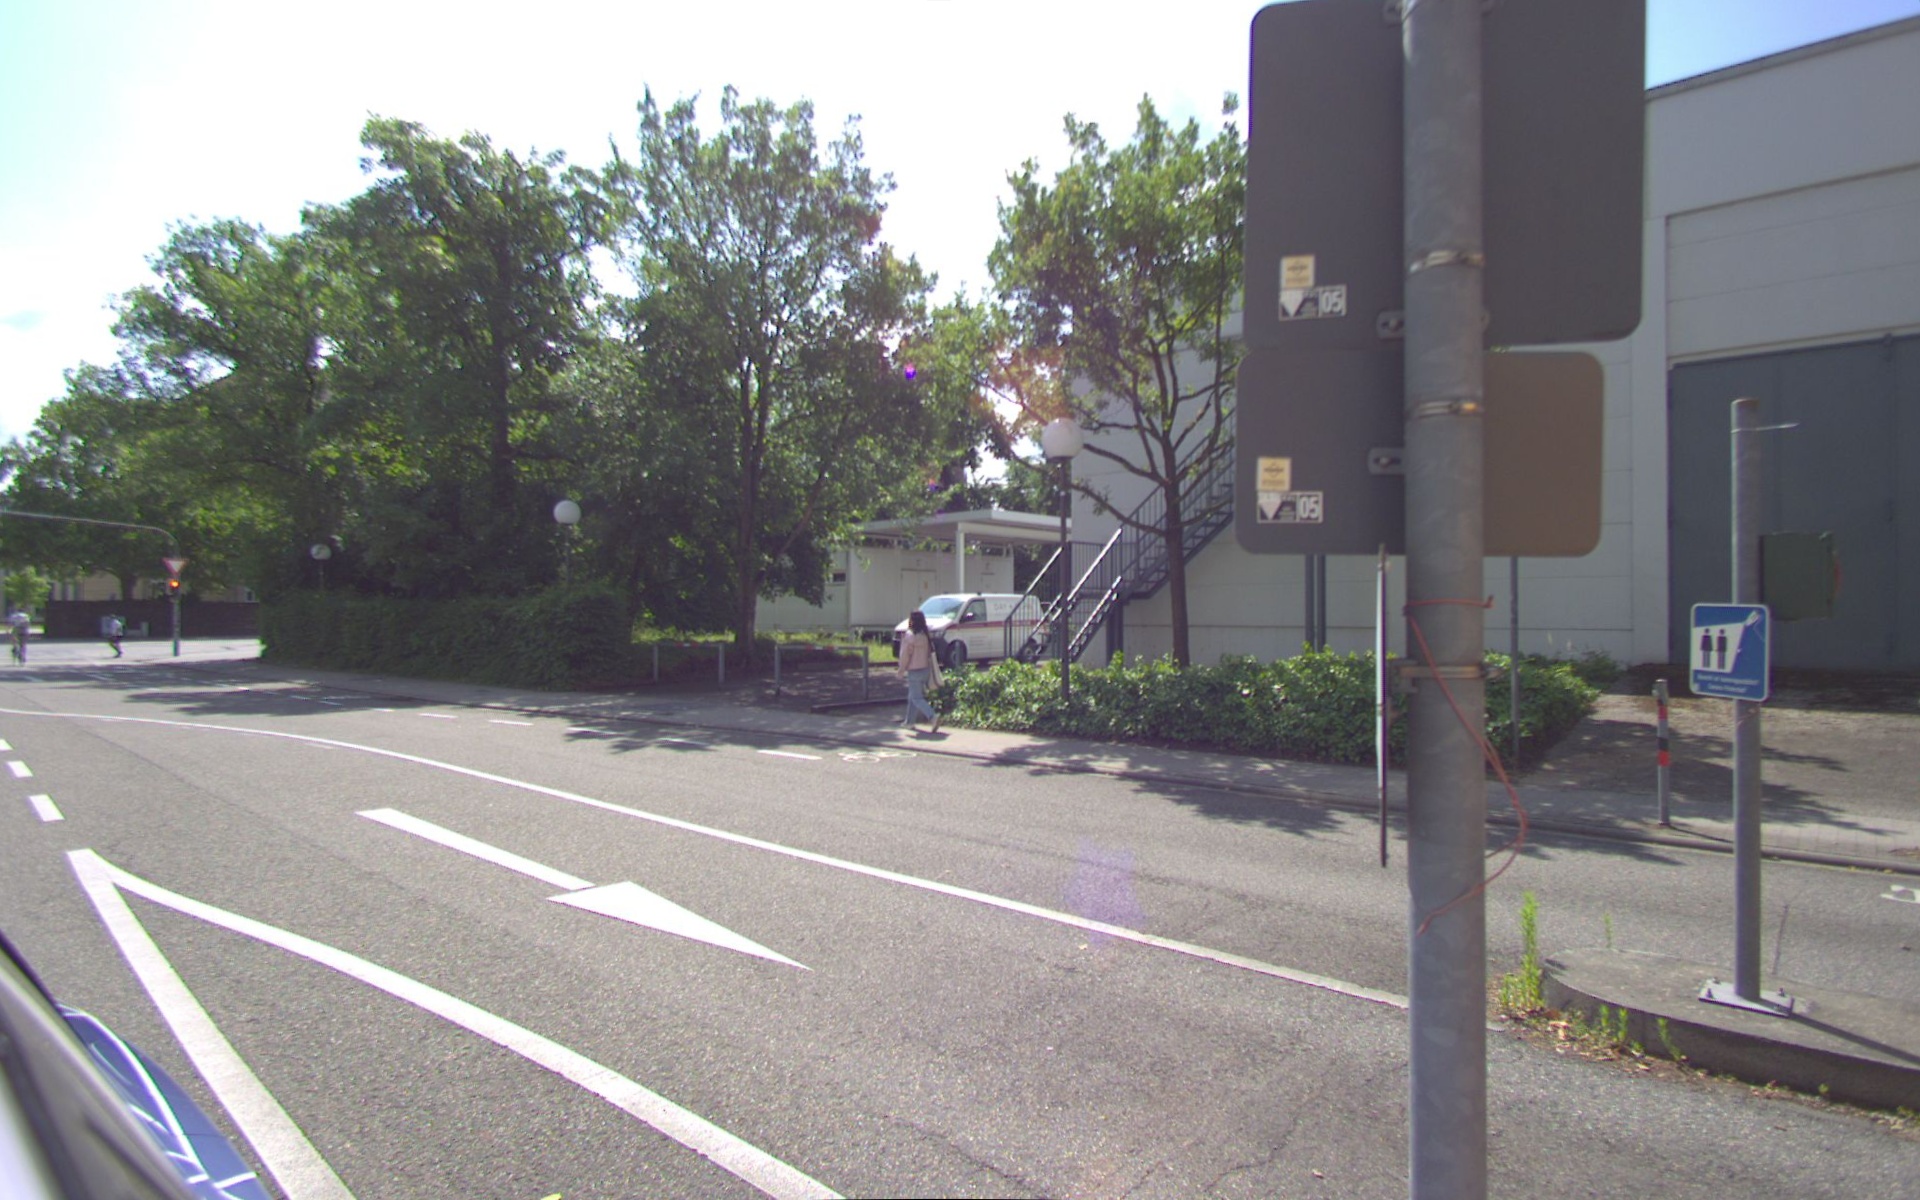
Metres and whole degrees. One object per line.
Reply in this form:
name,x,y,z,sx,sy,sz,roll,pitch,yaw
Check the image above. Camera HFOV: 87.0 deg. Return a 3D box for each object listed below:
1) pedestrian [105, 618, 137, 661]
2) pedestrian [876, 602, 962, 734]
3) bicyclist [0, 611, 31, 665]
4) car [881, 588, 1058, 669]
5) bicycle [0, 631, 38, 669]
pedestrian,-34.408,1.617,41.519,0.917,1.714,0.854,1,-3,-45
pedestrian,-0.537,0.858,13.146,0.883,1.639,0.705,-1,-1,41
bicyclist,-31.184,1.250,33.370,0.918,1.750,0.685,-1,-1,41
car,0.352,0.728,27.399,2.001,2.001,4.865,0,0,44
bicycle,-30.932,1.624,33.260,2.209,1.180,0.685,-1,-1,42
